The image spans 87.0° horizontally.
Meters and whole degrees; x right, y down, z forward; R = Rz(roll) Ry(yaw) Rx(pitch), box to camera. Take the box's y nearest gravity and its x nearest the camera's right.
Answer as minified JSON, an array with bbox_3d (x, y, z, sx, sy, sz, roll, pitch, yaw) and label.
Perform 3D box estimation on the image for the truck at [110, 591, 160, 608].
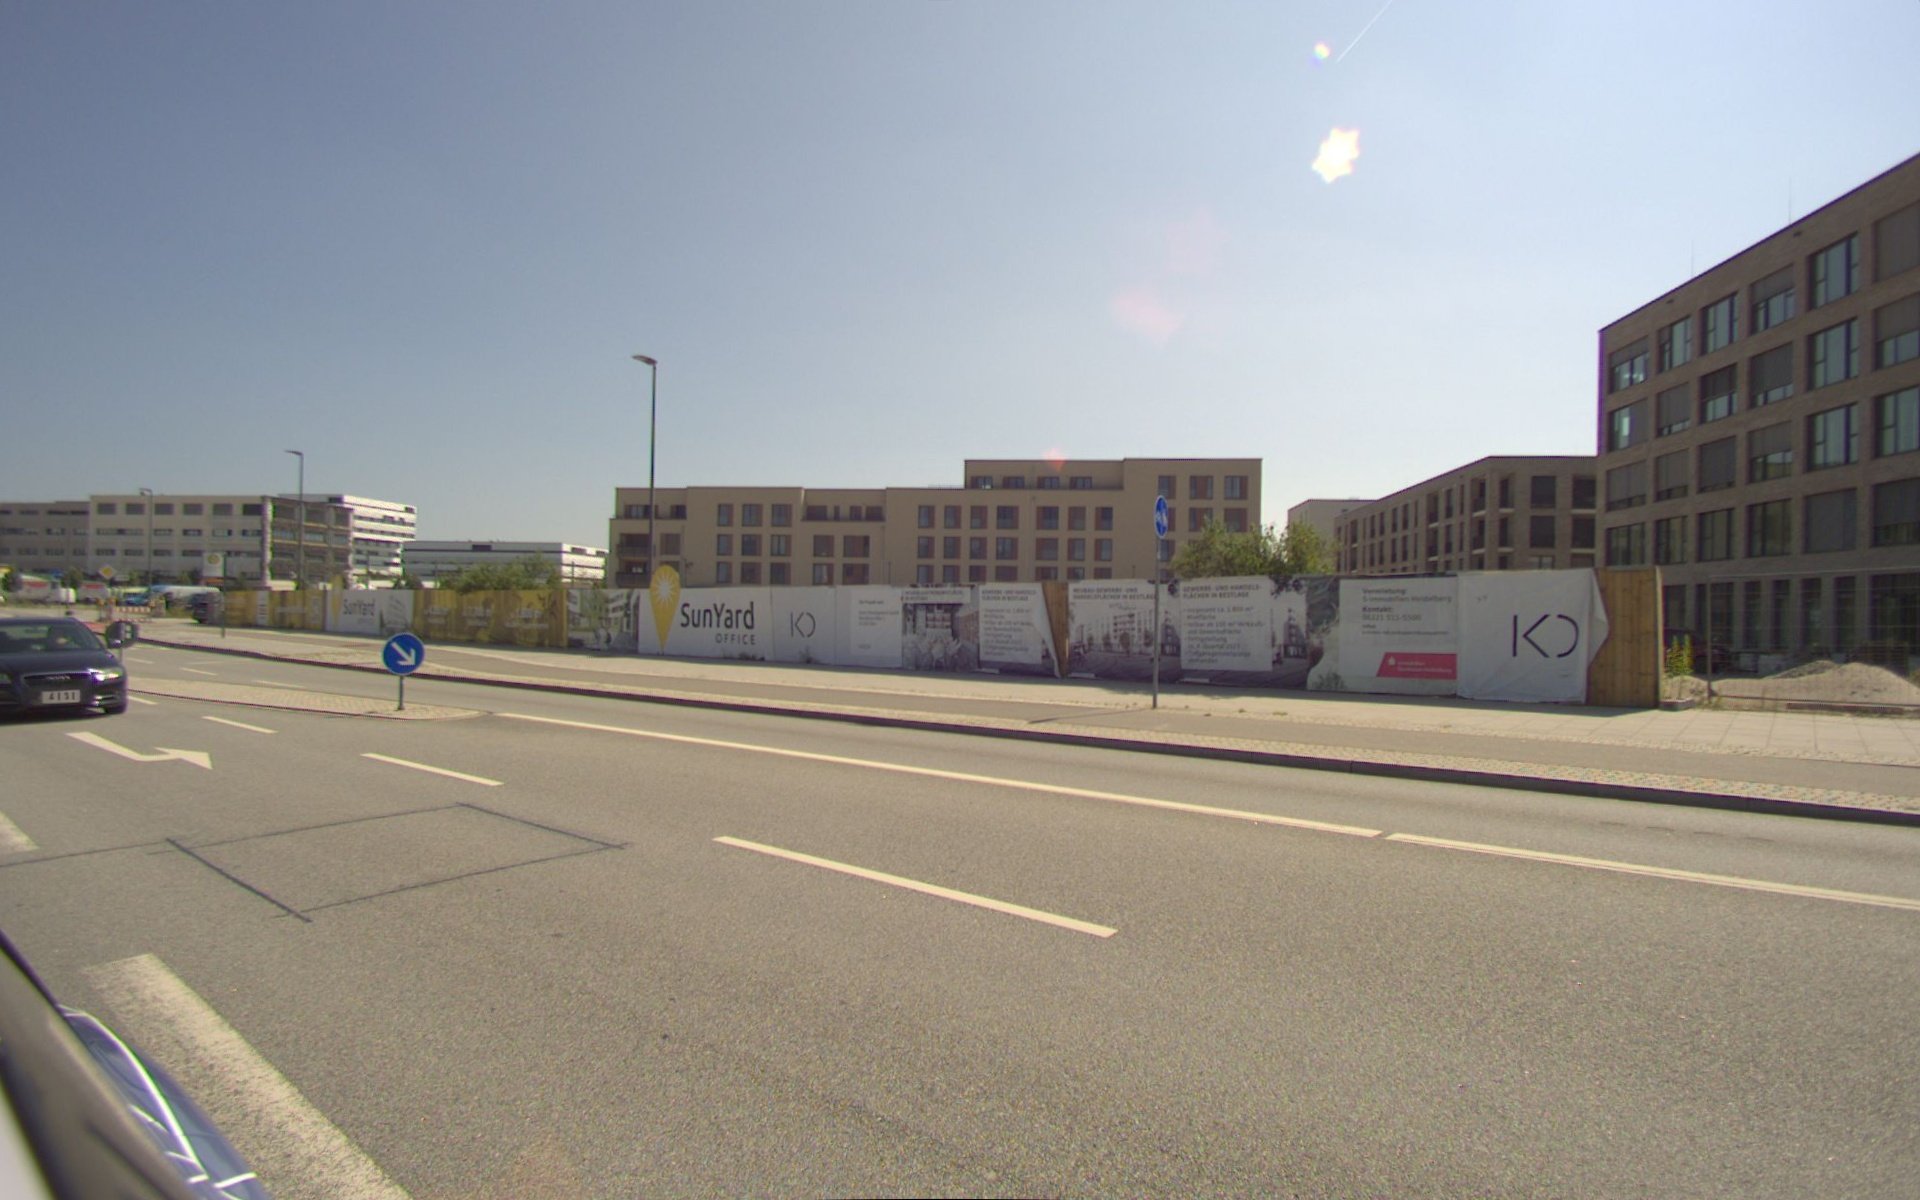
[{"bbox_3d":[-120.274,-0.099,147.554,1.998,2.494,5.346,0,1,38],"label":"truck"}]

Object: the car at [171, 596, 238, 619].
[{"bbox_3d":[-60.285,0.585,80.774,1.888,1.731,3.885,0,1,35],"label":"car"}]

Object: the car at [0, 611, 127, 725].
[{"bbox_3d":[-13.664,0.907,14.793,3.998,1.422,1.688,0,1,41],"label":"car"}]

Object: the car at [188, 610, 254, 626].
[{"bbox_3d":[-48.351,1.163,66.285,1.293,0.960,3.315,0,1,43],"label":"car"}]

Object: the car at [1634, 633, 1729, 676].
[{"bbox_3d":[31.992,2.382,44.999,1.814,1.666,3.772,0,0,7],"label":"car"}]

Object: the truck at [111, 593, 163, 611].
[{"bbox_3d":[-114.943,0.270,141.387,1.996,2.494,5.270,0,1,36],"label":"truck"}]

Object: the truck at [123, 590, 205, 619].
[{"bbox_3d":[-72.488,0.367,92.272,1.996,2.494,5.567,0,1,36],"label":"truck"}]

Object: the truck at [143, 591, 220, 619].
[{"bbox_3d":[-67.073,0.405,87.291,1.998,2.245,4.942,0,1,39],"label":"truck"}]
